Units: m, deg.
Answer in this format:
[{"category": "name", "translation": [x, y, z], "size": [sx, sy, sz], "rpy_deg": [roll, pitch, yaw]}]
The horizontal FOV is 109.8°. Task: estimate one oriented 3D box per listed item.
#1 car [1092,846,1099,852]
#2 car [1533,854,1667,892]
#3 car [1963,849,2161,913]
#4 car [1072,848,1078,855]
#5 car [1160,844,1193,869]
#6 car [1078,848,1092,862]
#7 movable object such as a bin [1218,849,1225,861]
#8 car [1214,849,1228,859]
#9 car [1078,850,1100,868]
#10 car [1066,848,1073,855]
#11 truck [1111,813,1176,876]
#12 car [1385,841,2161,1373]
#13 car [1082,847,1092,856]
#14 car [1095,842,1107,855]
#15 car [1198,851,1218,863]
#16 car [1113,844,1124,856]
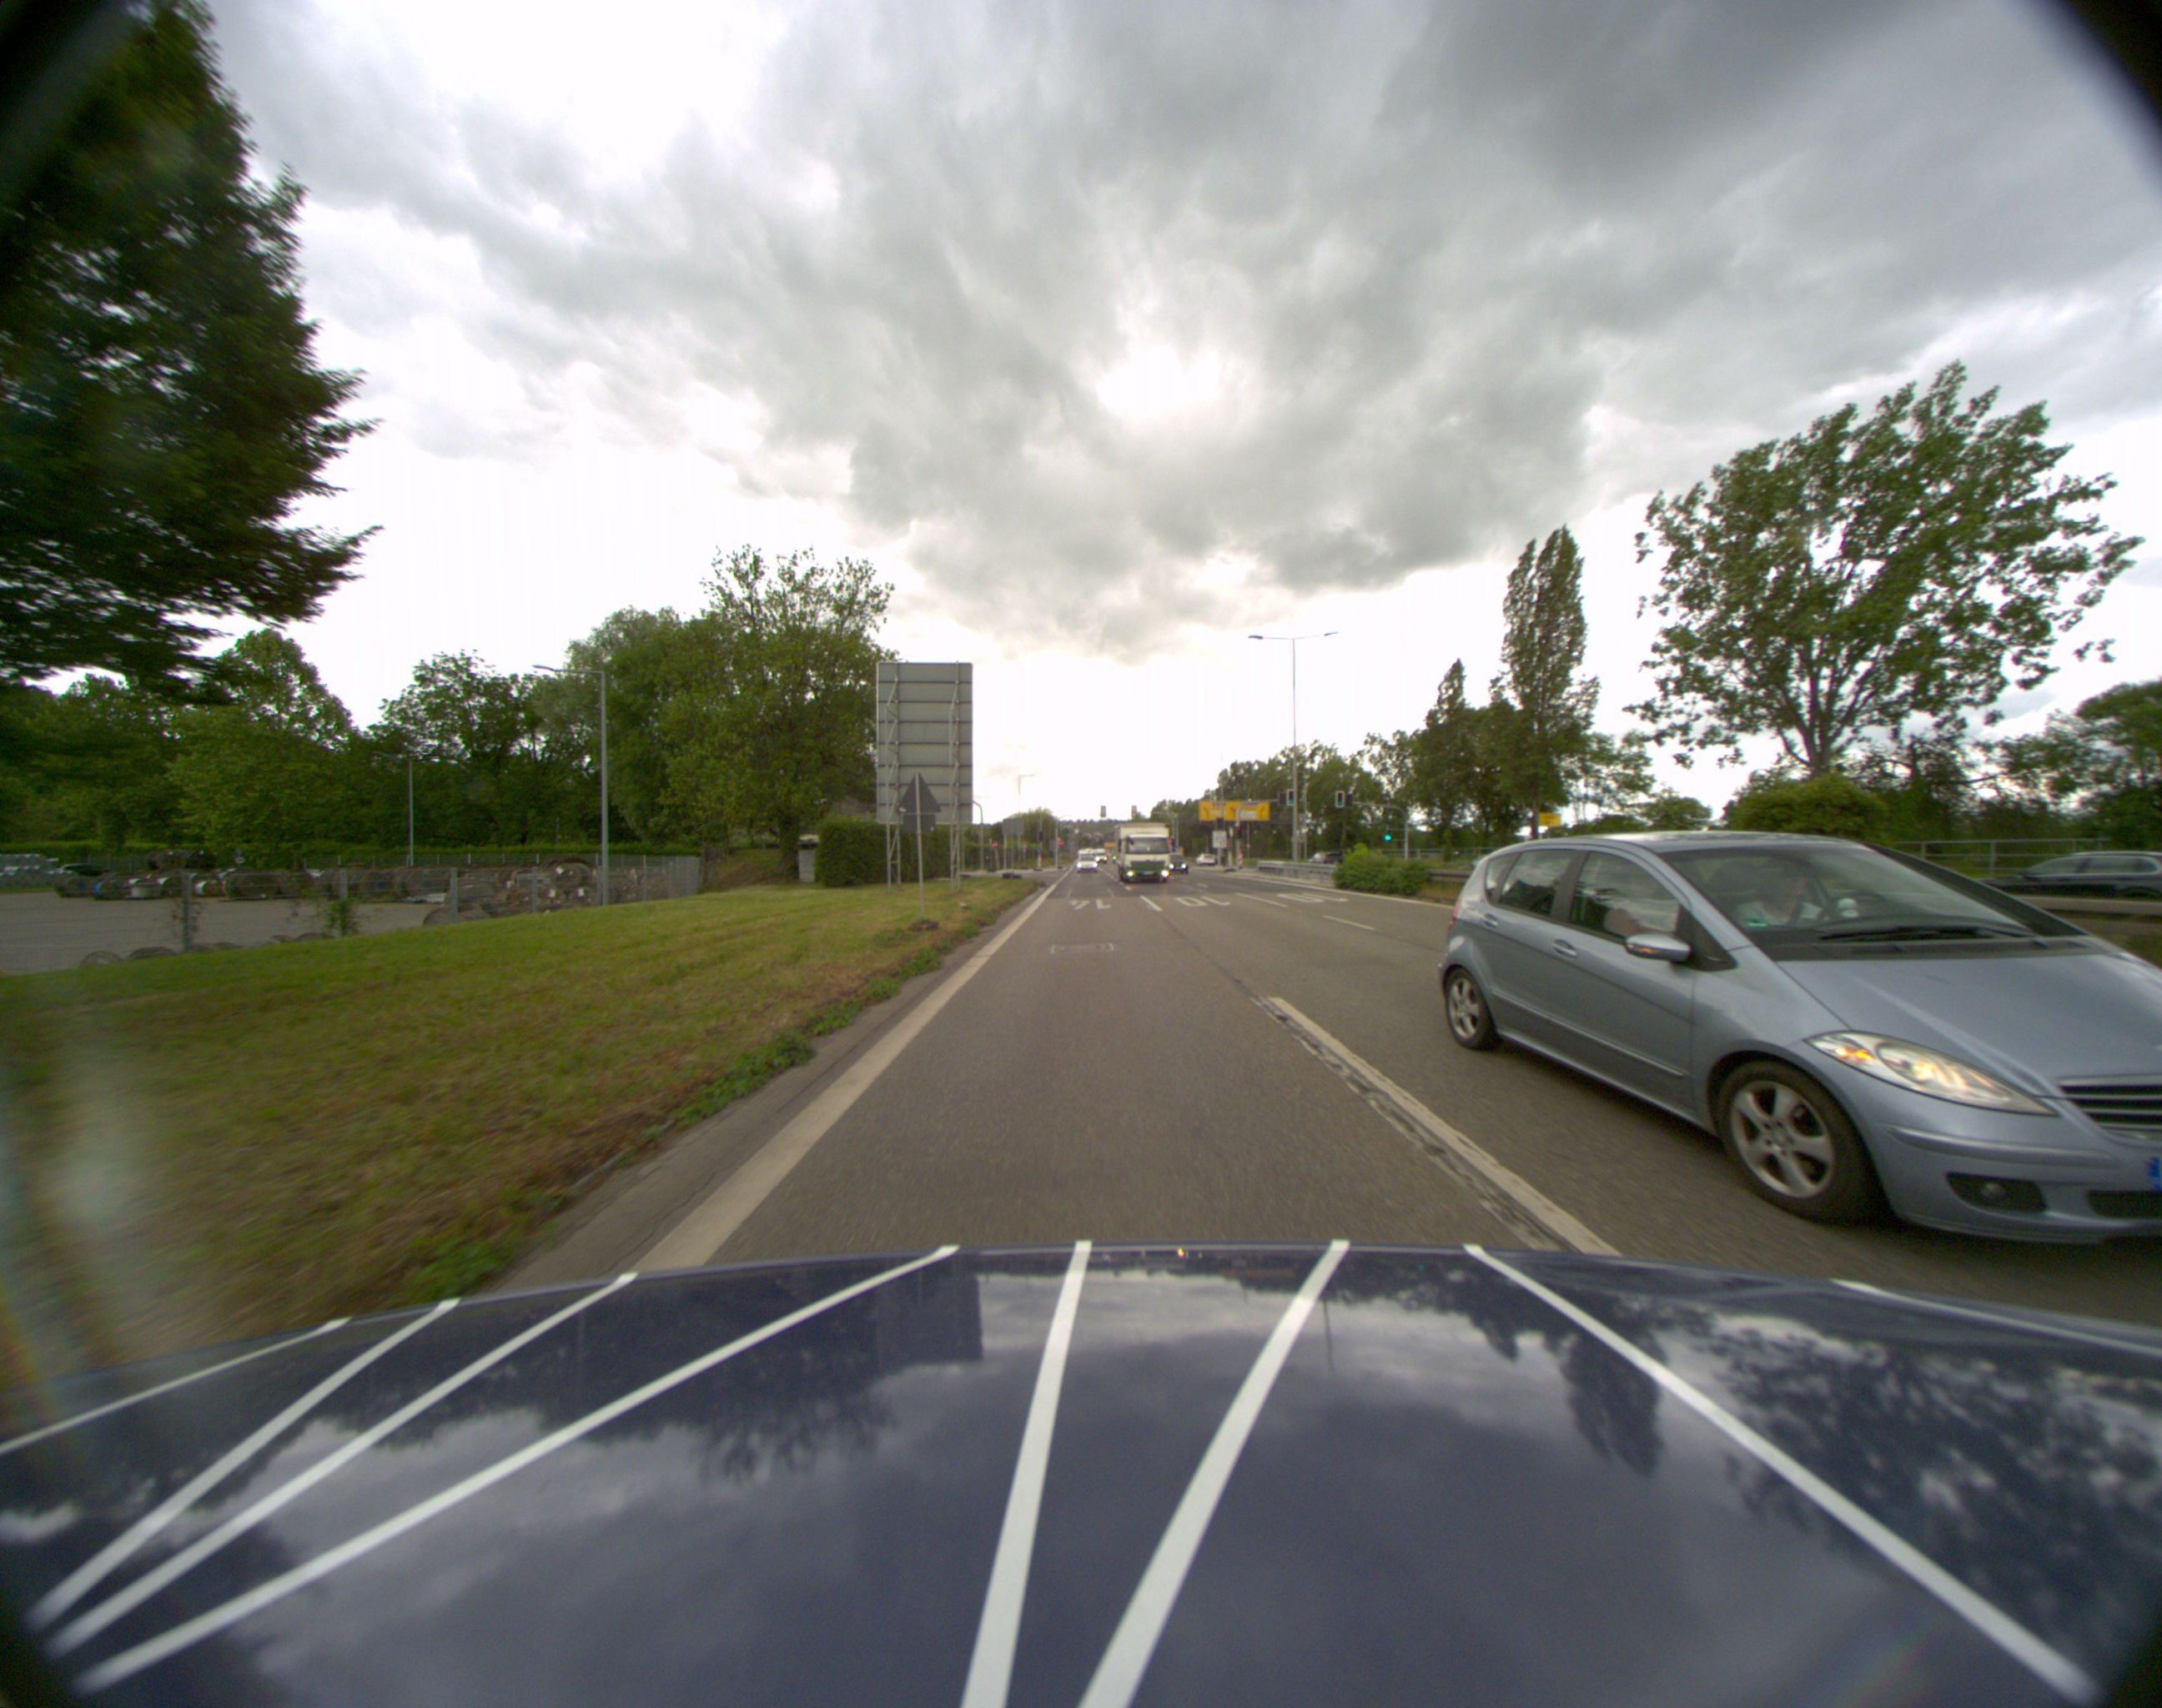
[{"category": "car", "translation": [4.089, -1.415, 217.030], "size": [1.949, 1.811, 4.000], "rpy_deg": [-1, 0, 0]}, {"category": "car", "translation": [16.454, 0.551, 24.354], "size": [1.549, 1.099, 4.066], "rpy_deg": [-1, 0, 1]}, {"category": "car", "translation": [22.794, 0.540, 16.928], "size": [1.582, 1.291, 4.061], "rpy_deg": [-1, 0, 1]}, {"category": "car", "translation": [-1.791, -0.761, 229.011], "size": [1.949, 1.811, 4.000], "rpy_deg": [-1, 0, 0]}, {"category": "car", "translation": [7.045, 0.189, 56.195], "size": [1.883, 1.715, 4.146], "rpy_deg": [-1, 0, 0]}, {"category": "car", "translation": [0.538, 0.131, 101.204], "size": [1.883, 1.715, 4.146], "rpy_deg": [-1, 0, 0]}, {"category": "movable object such as a bin", "translation": [12.104, 0.107, 65.416], "size": [0.570, 1.018, 0.622], "rpy_deg": [-1, 0, 4]}, {"category": "car", "translation": [20.149, 0.028, 109.758], "size": [1.508, 1.467, 2.633], "rpy_deg": [2, 0, 1]}, {"category": "car", "translation": [0.691, 0.444, 67.649], "size": [1.949, 1.517, 4.000], "rpy_deg": [-1, 0, 0]}, {"category": "car", "translation": [-3.487, -0.762, 223.626], "size": [1.949, 1.811, 4.000], "rpy_deg": [-1, 0, 0]}, {"category": "truck", "translation": [3.383, -0.458, 44.311], "size": [2.657, 3.121, 12.507], "rpy_deg": [-1, 0, 0]}, {"category": "car", "translation": [3.487, 0.721, 4.263], "size": [1.883, 1.530, 4.146], "rpy_deg": [-1, 0, 0]}, {"category": "car", "translation": [1.171, -0.477, 148.278], "size": [1.949, 1.811, 4.000], "rpy_deg": [-1, 0, 0]}, {"category": "car", "translation": [3.545, -0.973, 134.283], "size": [1.949, 2.176, 4.000], "rpy_deg": [-1, 0, 0]}, {"category": "car", "translation": [16.758, 0.398, 100.644], "size": [1.702, 1.517, 5.001], "rpy_deg": [2, 0, 0]}, {"category": "car", "translation": [6.960, -0.799, 141.173], "size": [1.949, 2.176, 4.000], "rpy_deg": [-1, 0, 0]}]
